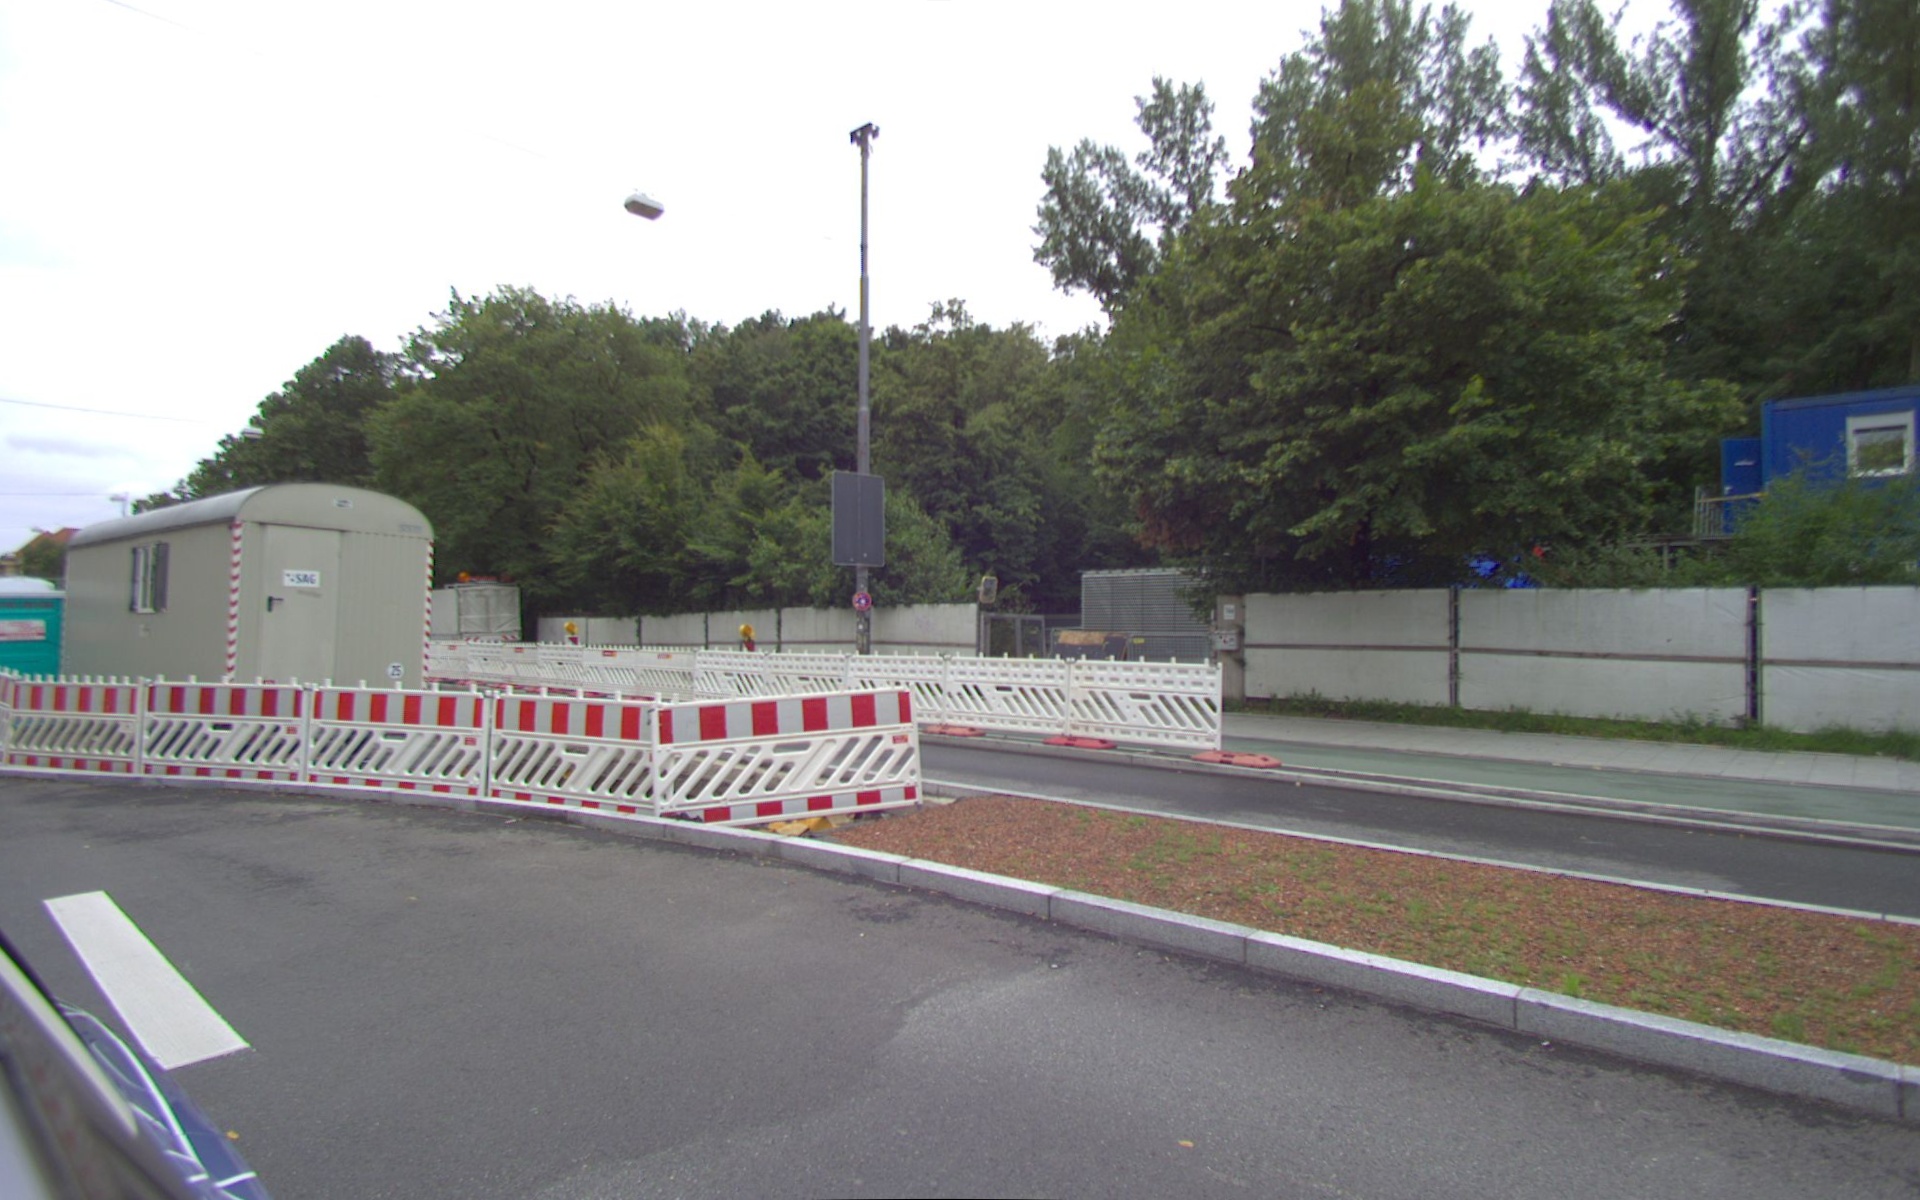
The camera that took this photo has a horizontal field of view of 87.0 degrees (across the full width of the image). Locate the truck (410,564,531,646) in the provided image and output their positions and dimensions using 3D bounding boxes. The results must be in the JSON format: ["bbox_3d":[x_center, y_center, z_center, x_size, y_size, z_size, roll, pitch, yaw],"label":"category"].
[{"bbox_3d":[-17.757,0.255,36.556,5.870,2.749,1.972,-2,-2,43],"label":"truck"}]

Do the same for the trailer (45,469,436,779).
[{"bbox_3d":[-10.094,0.367,13.834,7.507,3.268,2.206,-2,-3,37],"label":"trailer"}]
